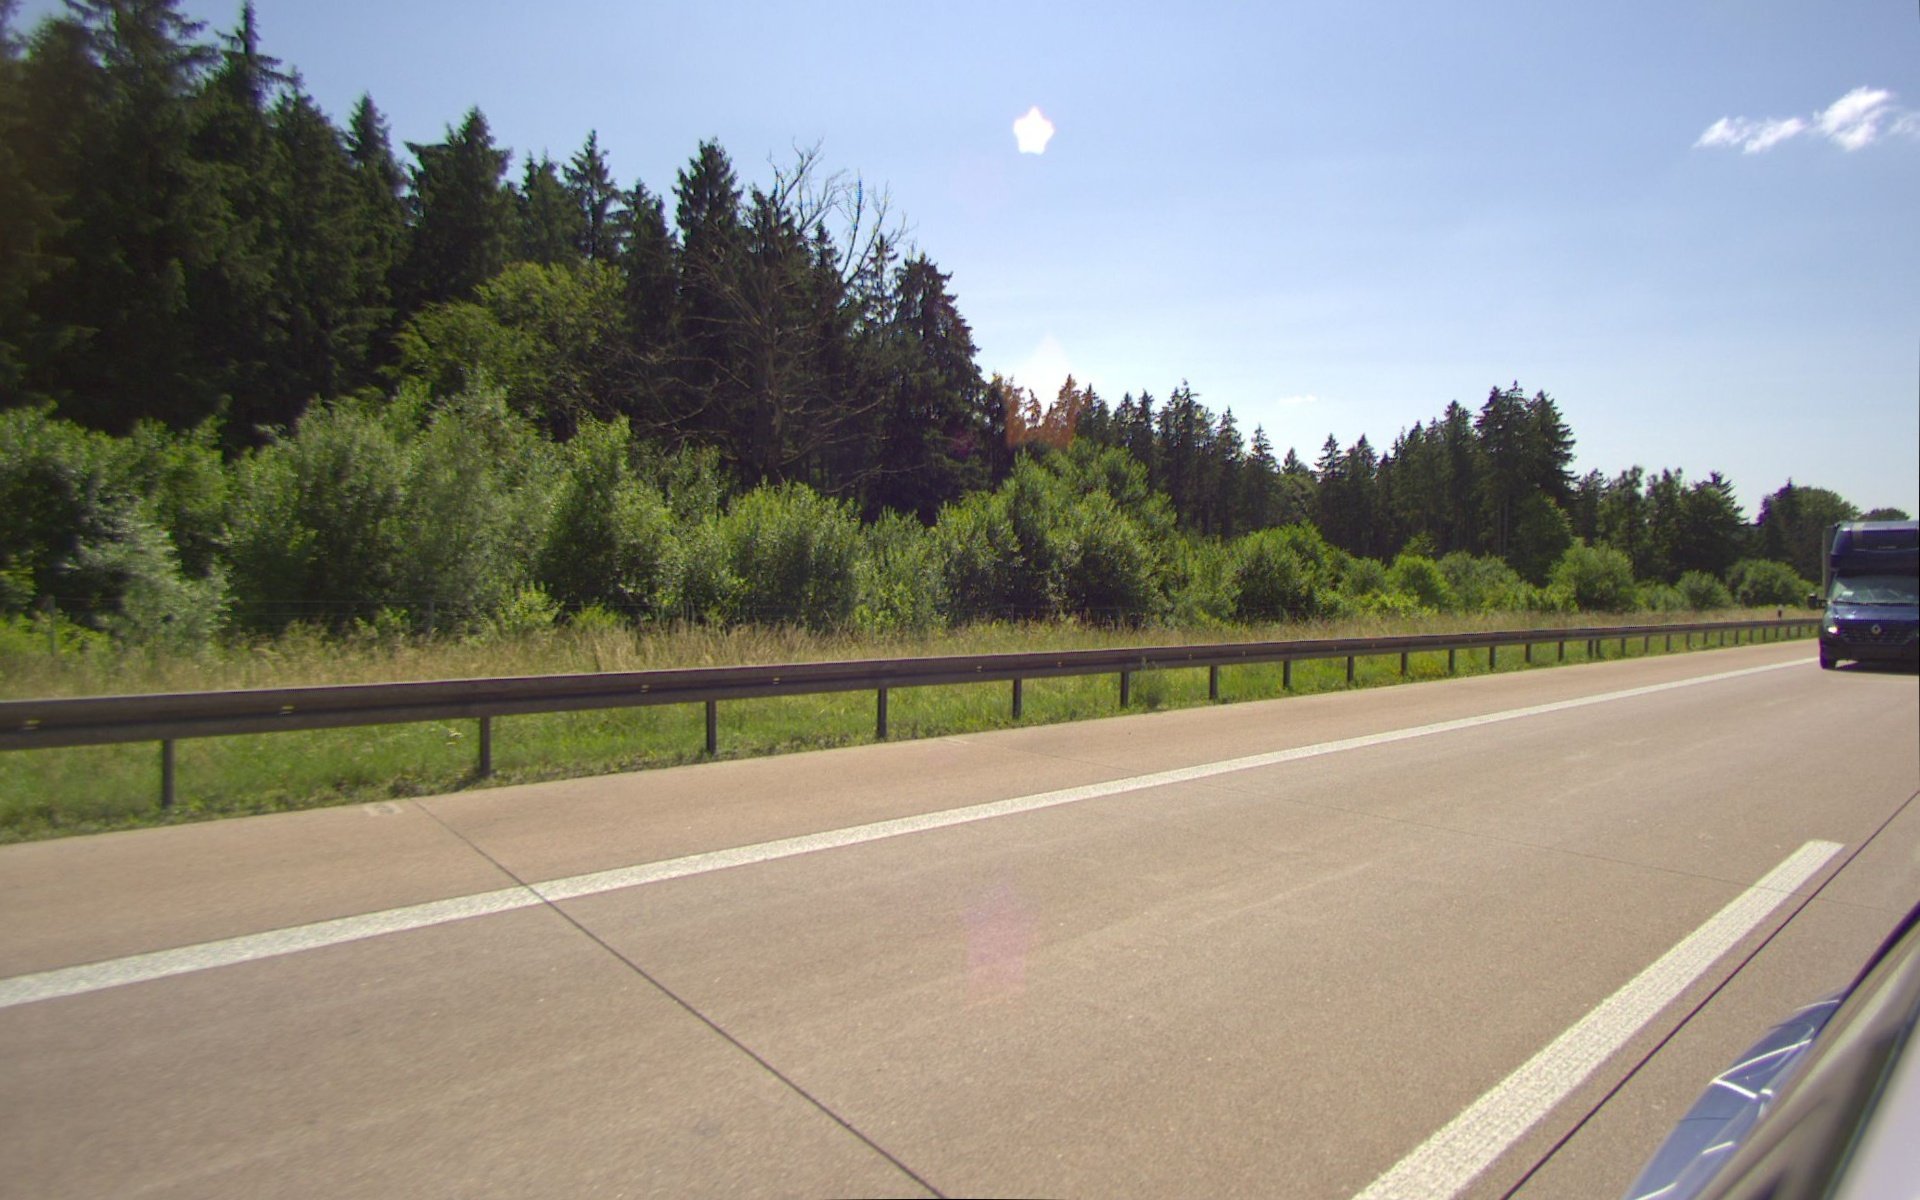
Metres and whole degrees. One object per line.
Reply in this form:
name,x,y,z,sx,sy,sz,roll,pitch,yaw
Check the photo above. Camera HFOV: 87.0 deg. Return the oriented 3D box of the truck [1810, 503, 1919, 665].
truck,21.947,-0.332,23.228,7.647,3.259,2.507,0,1,-41
